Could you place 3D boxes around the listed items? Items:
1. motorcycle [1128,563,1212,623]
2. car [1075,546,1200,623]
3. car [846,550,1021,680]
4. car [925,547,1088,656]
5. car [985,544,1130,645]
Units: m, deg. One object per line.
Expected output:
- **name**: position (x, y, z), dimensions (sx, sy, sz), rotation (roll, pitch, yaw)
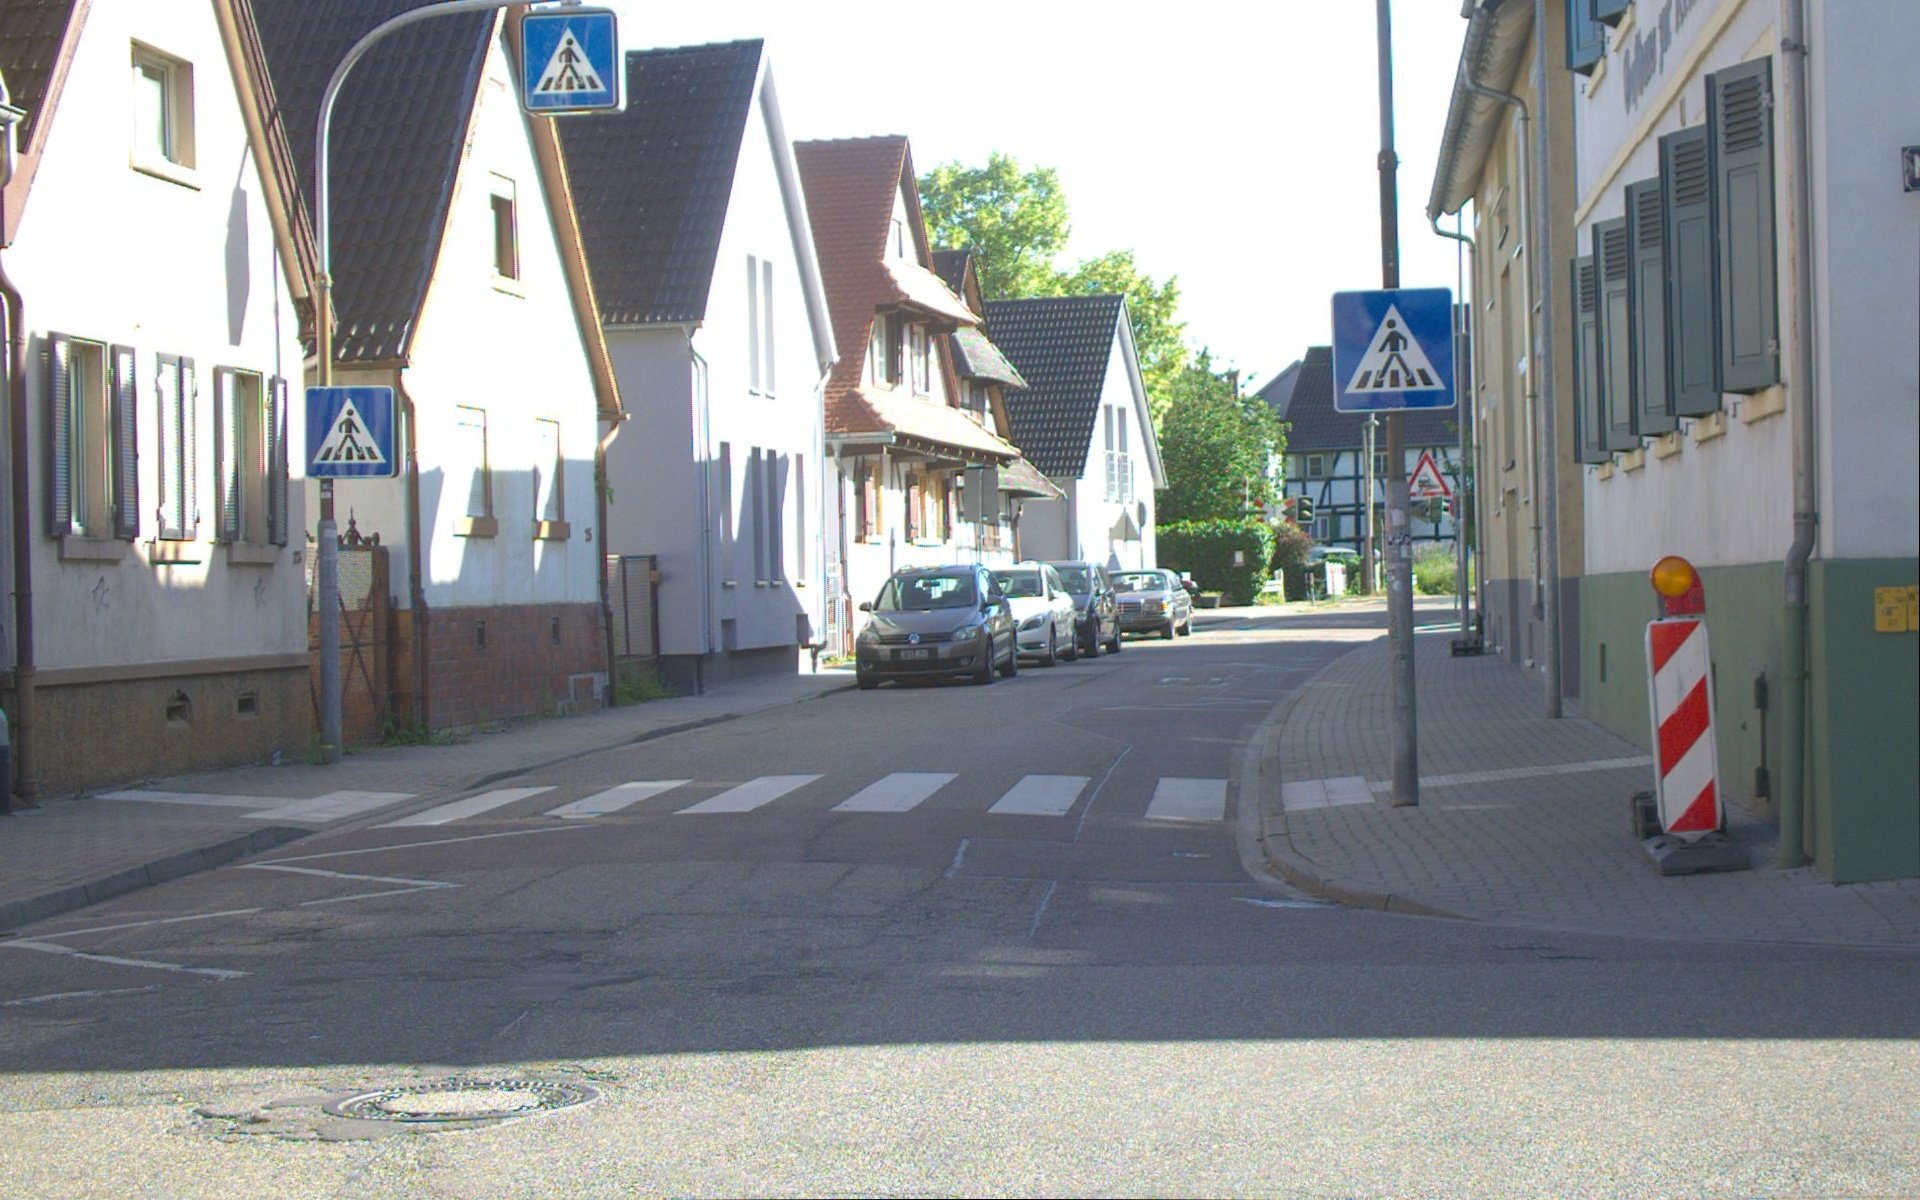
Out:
- **motorcycle**: position (4.460, -0.146, 73.272), dimensions (0.625, 1.227, 1.994), rotation (-3, 1, -35)
- **car**: position (3.631, -0.322, 69.666), dimensions (1.845, 1.401, 5.034), rotation (-3, 0, 10)
- **car**: position (-0.307, 0.176, 45.863), dimensions (1.743, 1.608, 3.999), rotation (-2, 0, 8)
- **car**: position (0.759, 0.009, 52.880), dimensions (1.817, 1.561, 4.166), rotation (-2, 0, 10)
- **car**: position (1.694, -0.118, 58.395), dimensions (1.784, 1.599, 4.359), rotation (-2, 0, 10)
